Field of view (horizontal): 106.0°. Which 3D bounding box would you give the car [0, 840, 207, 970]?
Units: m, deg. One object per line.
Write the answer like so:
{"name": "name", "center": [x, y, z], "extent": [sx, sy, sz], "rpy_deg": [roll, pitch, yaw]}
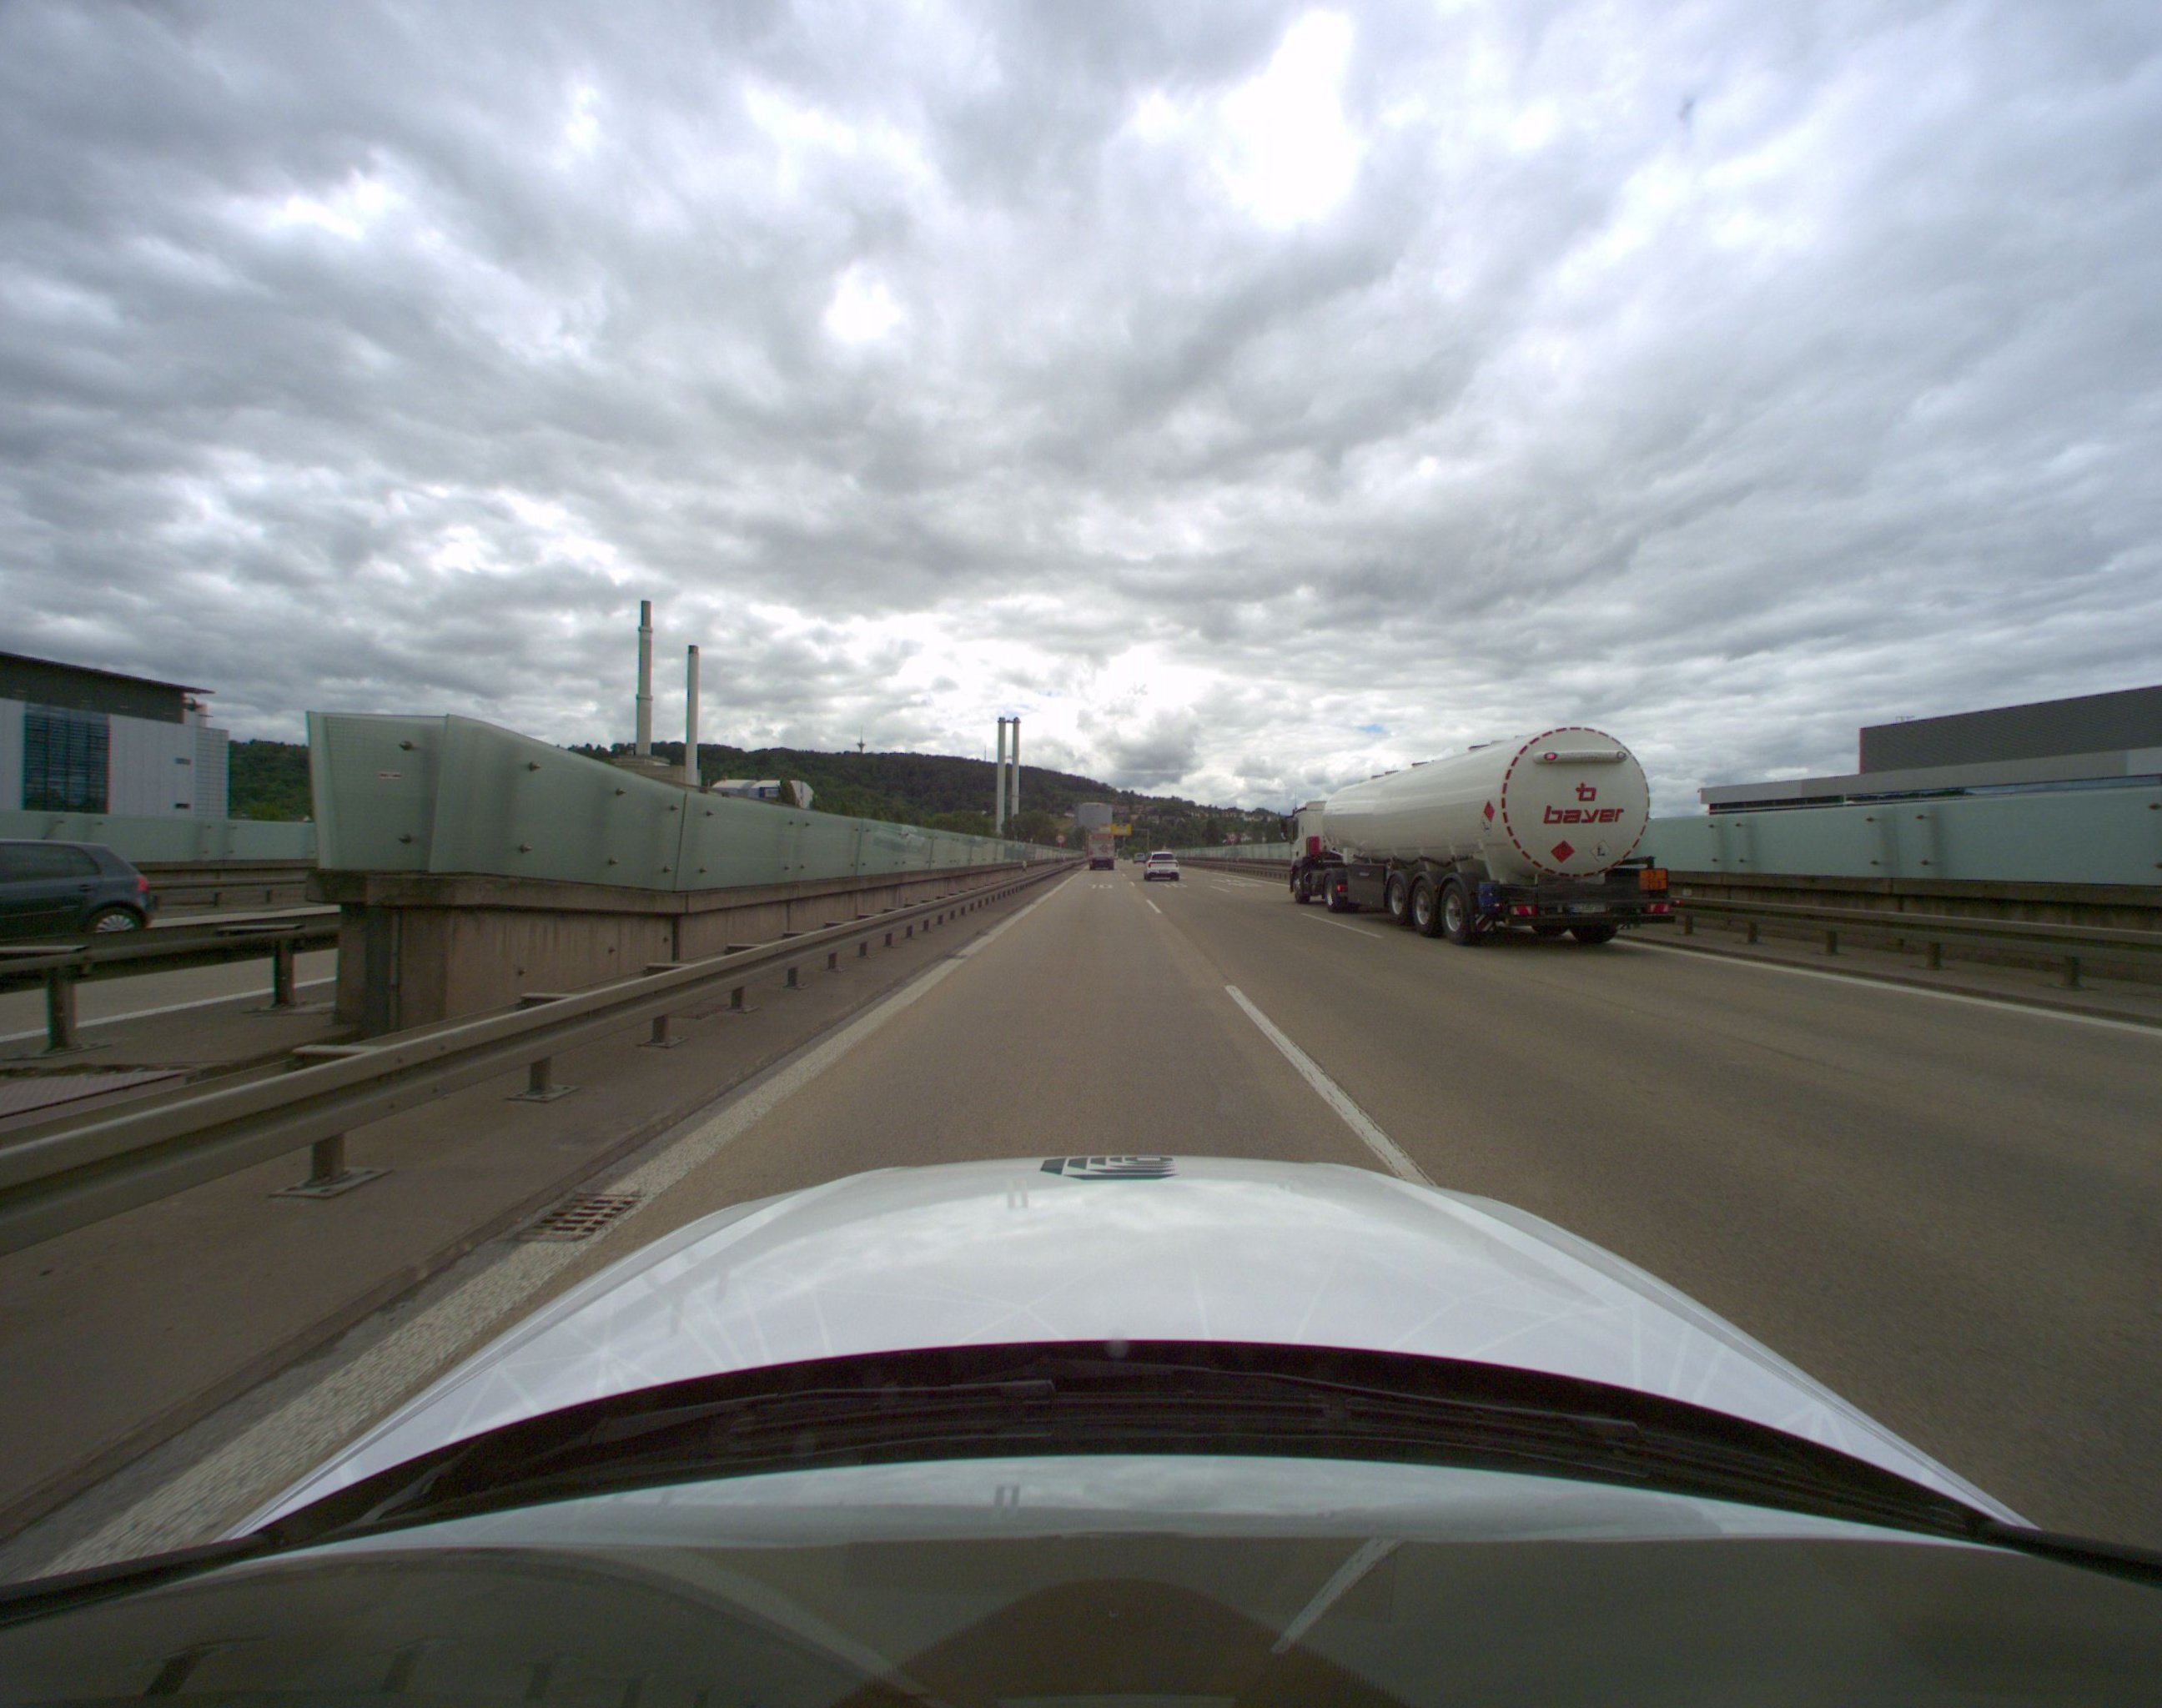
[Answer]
{"name": "car", "center": [-12.805, 0.567, 8.945], "extent": [1.755, 1.431, 4.393], "rpy_deg": [0, 0, -2]}

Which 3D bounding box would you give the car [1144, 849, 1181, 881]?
{"name": "car", "center": [4.686, 0.620, 47.479], "extent": [1.916, 1.785, 4.115], "rpy_deg": [0, 0, 2]}

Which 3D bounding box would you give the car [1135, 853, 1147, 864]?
{"name": "car", "center": [9.746, 0.693, 132.545], "extent": [1.915, 1.785, 4.118], "rpy_deg": [0, 0, 4]}

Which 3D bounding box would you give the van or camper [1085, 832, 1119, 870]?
{"name": "van or camper", "center": [2.159, -0.234, 81.163], "extent": [3.109, 3.579, 8.556], "rpy_deg": [0, 0, 3]}

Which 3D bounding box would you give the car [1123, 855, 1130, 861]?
{"name": "car", "center": [13.361, 1.169, 240.537], "extent": [1.916, 1.785, 4.115], "rpy_deg": [0, 0, 2]}

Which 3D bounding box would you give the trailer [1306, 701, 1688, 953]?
{"name": "trailer", "center": [7.417, -0.343, 17.129], "extent": [2.640, 3.543, 11.225], "rpy_deg": [0, 0, 2]}

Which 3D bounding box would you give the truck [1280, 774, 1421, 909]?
{"name": "truck", "center": [7.664, -0.323, 23.783], "extent": [2.621, 3.514, 4.906], "rpy_deg": [0, 0, 2]}
